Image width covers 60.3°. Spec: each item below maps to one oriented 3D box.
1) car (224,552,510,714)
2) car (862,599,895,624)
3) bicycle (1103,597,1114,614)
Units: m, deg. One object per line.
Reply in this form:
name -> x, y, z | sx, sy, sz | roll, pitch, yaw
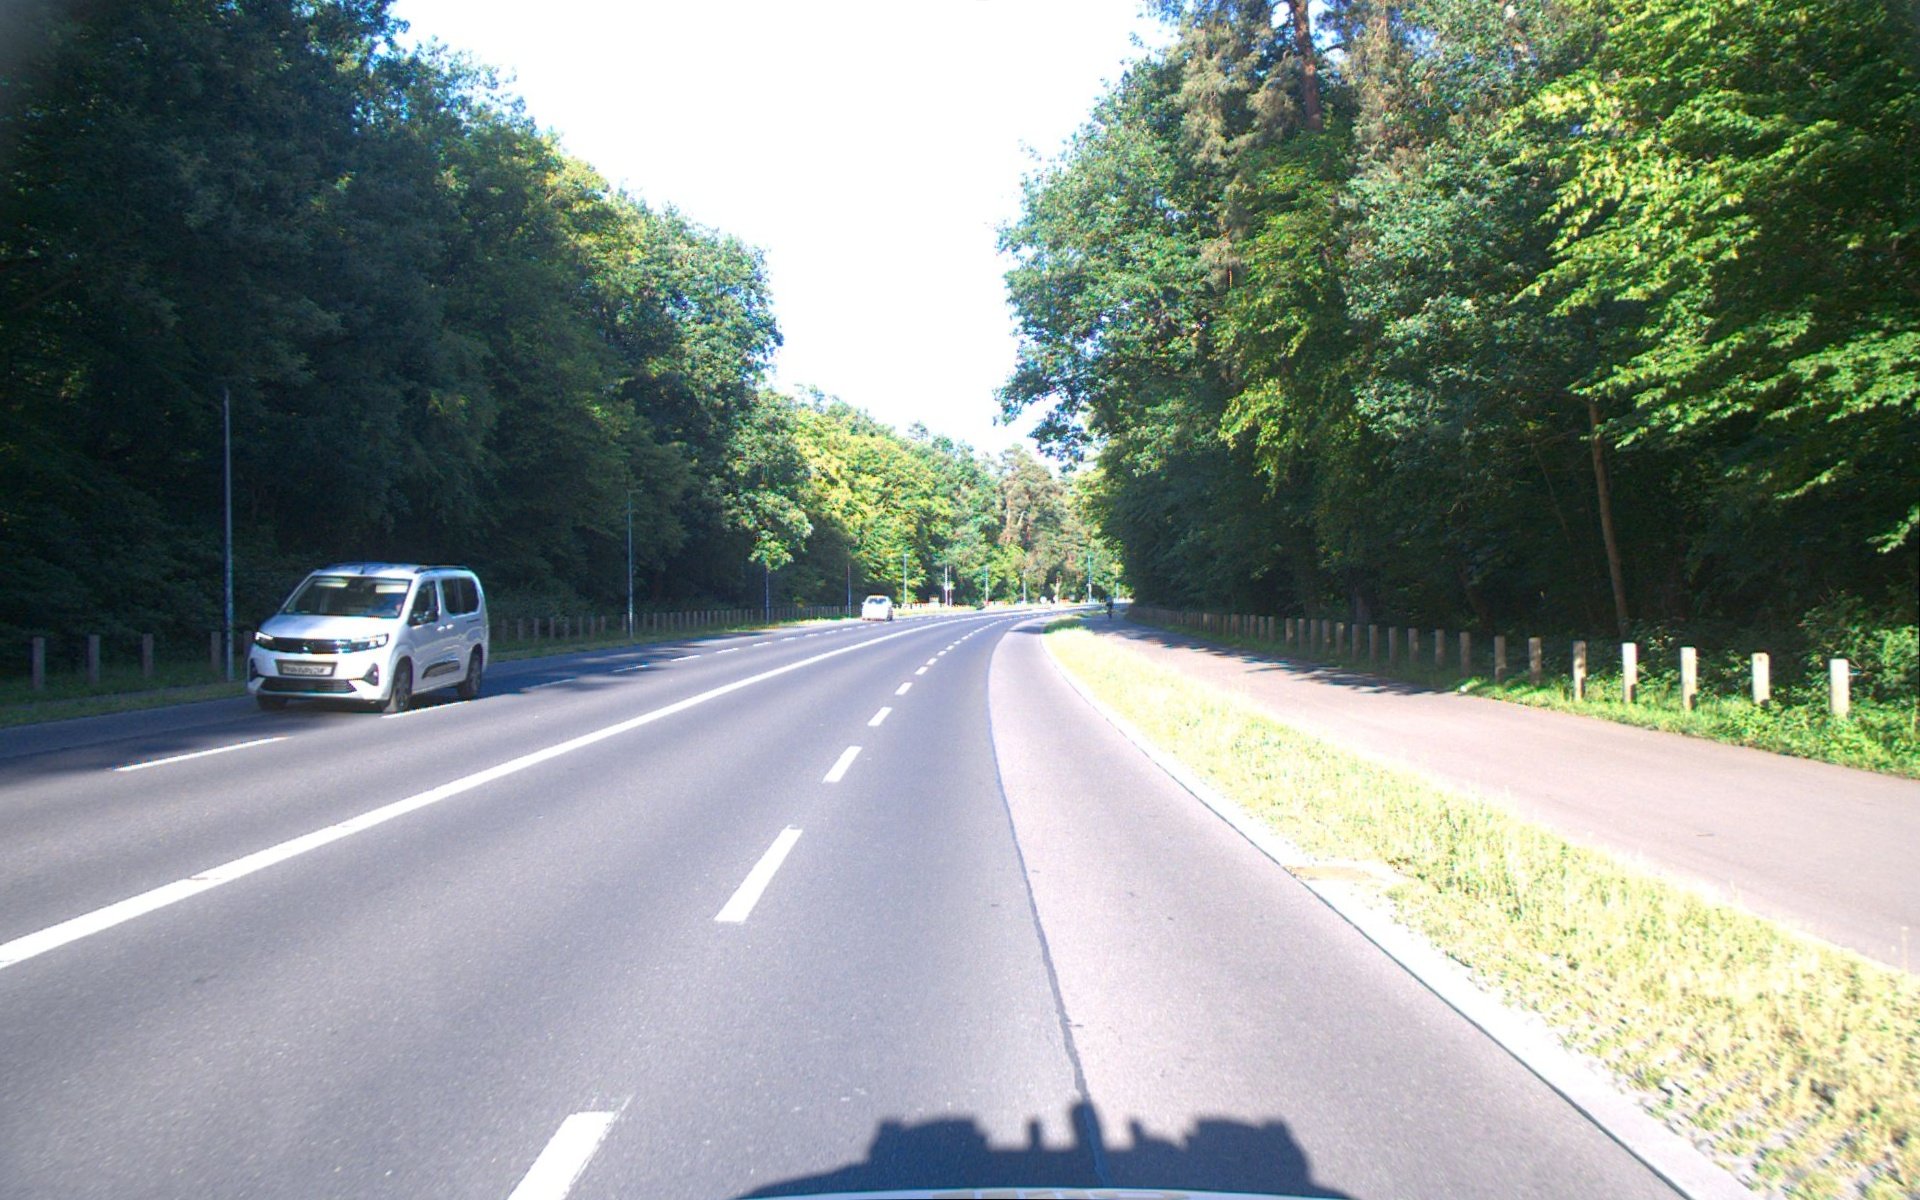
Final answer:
car -> -7.707, 0.389, 22.088 | 1.960, 1.858, 4.999 | 2, 0, 0
car -> -5.014, 0.670, 102.311 | 1.554, 1.462, 4.310 | 2, 0, 3
bicycle -> 9.781, 0.356, 108.780 | 0.697, 1.074, 2.054 | 0, 0, 4
